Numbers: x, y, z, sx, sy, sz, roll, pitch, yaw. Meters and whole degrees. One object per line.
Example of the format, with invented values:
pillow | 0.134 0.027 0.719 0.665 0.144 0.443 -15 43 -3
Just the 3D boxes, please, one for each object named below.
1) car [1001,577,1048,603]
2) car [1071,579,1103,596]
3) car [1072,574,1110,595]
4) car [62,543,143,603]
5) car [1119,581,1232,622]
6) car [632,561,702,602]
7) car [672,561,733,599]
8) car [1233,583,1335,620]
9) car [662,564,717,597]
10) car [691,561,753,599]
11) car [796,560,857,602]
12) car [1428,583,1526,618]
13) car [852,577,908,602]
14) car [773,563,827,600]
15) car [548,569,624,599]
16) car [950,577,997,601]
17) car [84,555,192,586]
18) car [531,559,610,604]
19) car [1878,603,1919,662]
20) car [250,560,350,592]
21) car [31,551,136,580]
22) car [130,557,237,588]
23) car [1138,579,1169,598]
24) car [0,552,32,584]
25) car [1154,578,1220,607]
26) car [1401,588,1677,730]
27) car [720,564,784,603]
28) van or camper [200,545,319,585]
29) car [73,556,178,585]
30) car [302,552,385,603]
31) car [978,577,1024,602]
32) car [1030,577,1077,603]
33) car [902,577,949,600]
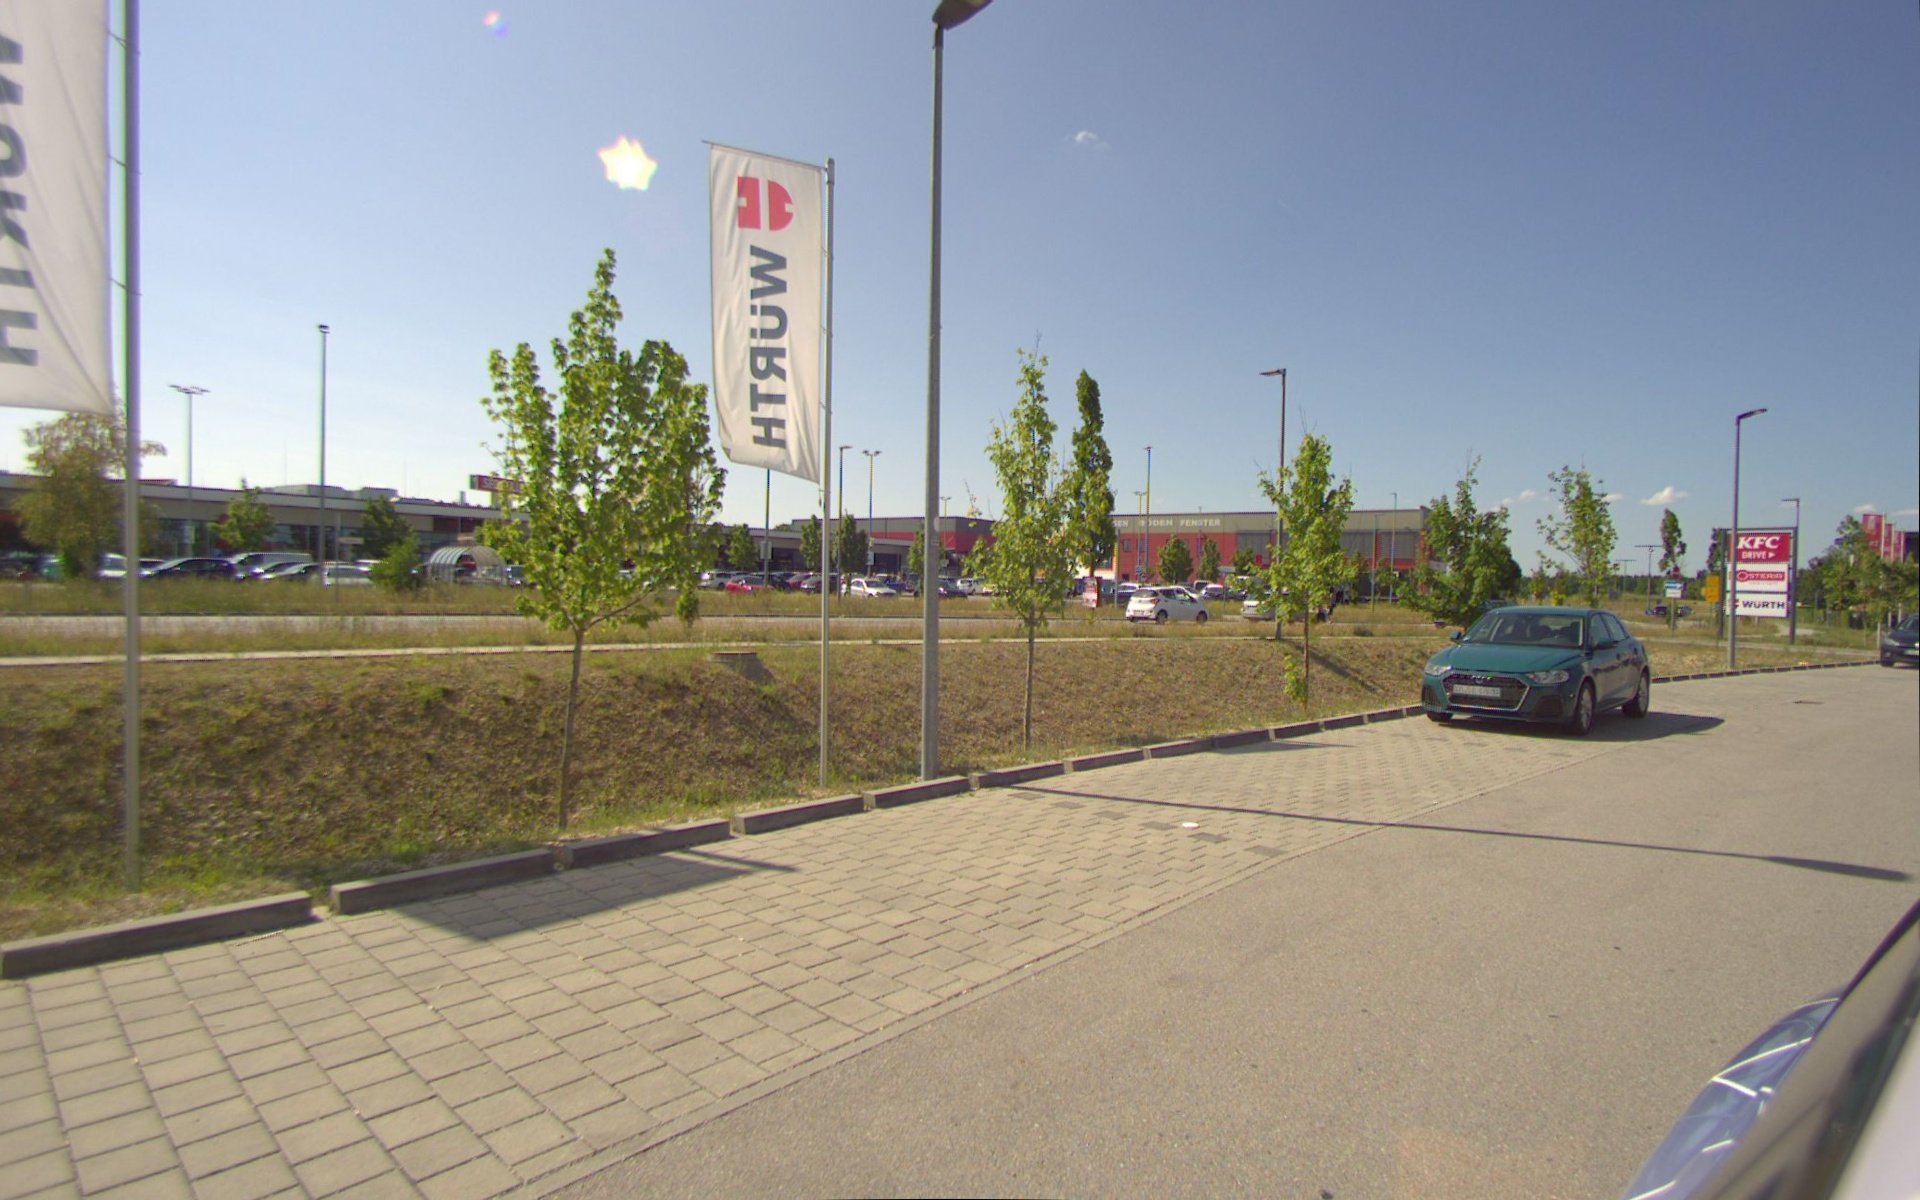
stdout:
car | 5.499 -0.836 85.249 1.987 2.063 4.429 1 0 34
car | 15.334 -1.482 122.248 1.987 2.063 4.429 1 0 34
car | 13.110 -1.555 101.050 1.987 2.063 4.429 1 0 34
car | -31.433 -0.986 37.069 2.127 2.039 5.108 0 1 -41
car | 8.816 0.059 41.238 4.673 1.571 1.946 0 0 -38
car | -15.220 -0.976 52.403 1.909 2.039 4.407 1 1 -39
car | -20.186 -1.545 79.437 1.987 2.857 4.429 1 0 34
car | 14.601 0.059 45.523 4.669 1.571 1.947 0 0 -34
car | -23.785 -1.698 89.105 1.987 2.857 4.429 1 0 34
car | -18.119 -1.493 77.285 1.987 2.857 4.429 1 0 34
car | -9.363 -1.305 71.328 1.982 2.857 4.440 1 0 28
car | 24.340 0.043 47.617 4.666 1.571 1.948 1 0 -31
car | -6.035 -0.785 76.533 1.987 1.806 4.262 1 1 34
car | -12.704 -1.449 80.650 1.982 2.857 4.440 1 0 28
car | -24.869 -1.053 67.405 1.987 1.886 4.429 1 1 34
car | 1.216 -0.930 88.346 1.987 2.063 4.429 1 0 34
car | -39.268 -1.376 48.409 1.718 1.408 3.691 2 1 31
car | -18.959 -0.929 49.105 2.125 2.039 5.112 0 1 -39
car | 26.503 0.873 27.093 4.280 1.484 1.879 1 1 -34
car | -34.168 -1.226 52.469 1.863 1.527 3.949 1 1 35
car | -44.408 -1.722 51.325 1.718 1.408 3.691 2 1 31
car | -36.566 -1.290 47.729 1.718 1.408 3.691 2 1 31
car | 22.429 -1.329 117.376 1.987 2.063 4.429 1 0 34
car | -53.502 -1.792 56.260 3.972 1.728 1.976 2 2 34
car | 16.875 -0.569 75.343 1.967 2.063 4.474 1 1 -44
car | 7.432 0.637 12.819 4.155 1.467 1.842 1 1 -43
car | -11.413 -0.946 55.355 1.848 2.039 4.137 1 1 -37
van or camper | -38.475 -1.892 55.702 1.988 2.039 4.985 2 1 36
car | -41.530 -1.450 50.432 1.718 1.408 3.691 2 1 31
car | -25.968 -0.963 42.515 2.127 2.039 5.108 0 1 -41
car | 3.567 -0.884 87.171 1.987 2.063 4.429 1 0 34
car | 7.741 -0.786 83.558 1.987 2.063 4.429 1 0 34
car | -3.110 -1.022 91.180 1.987 2.063 4.429 1 0 34
